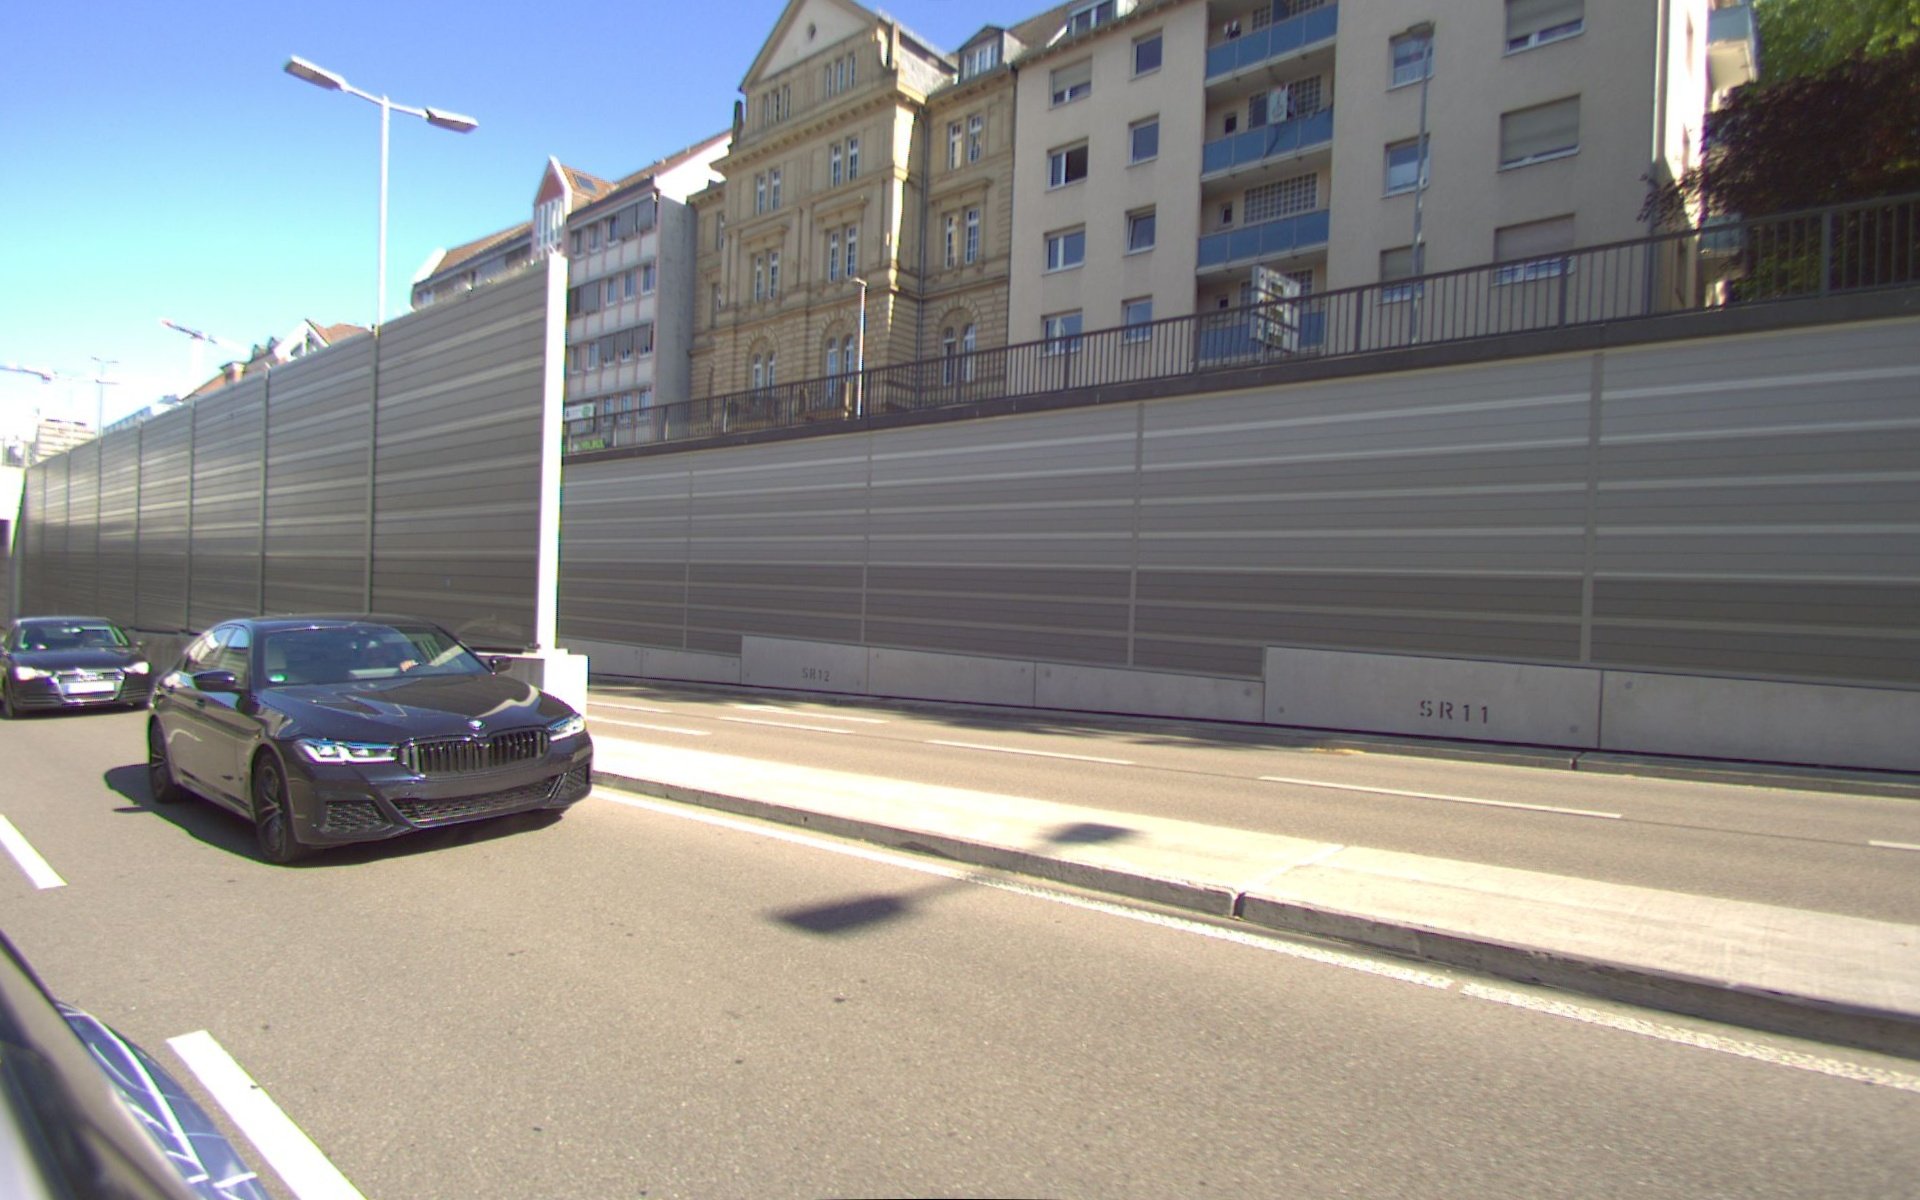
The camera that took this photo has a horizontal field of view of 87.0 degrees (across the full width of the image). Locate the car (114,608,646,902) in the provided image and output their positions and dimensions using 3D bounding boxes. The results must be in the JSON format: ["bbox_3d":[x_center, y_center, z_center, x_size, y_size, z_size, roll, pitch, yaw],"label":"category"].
[{"bbox_3d":[-4.468,0.822,7.361,4.999,1.450,1.790,-1,-1,41],"label":"car"}]

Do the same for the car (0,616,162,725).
[{"bbox_3d":[-13.741,0.997,15.489,3.886,1.429,1.678,-2,-1,41],"label":"car"}]
